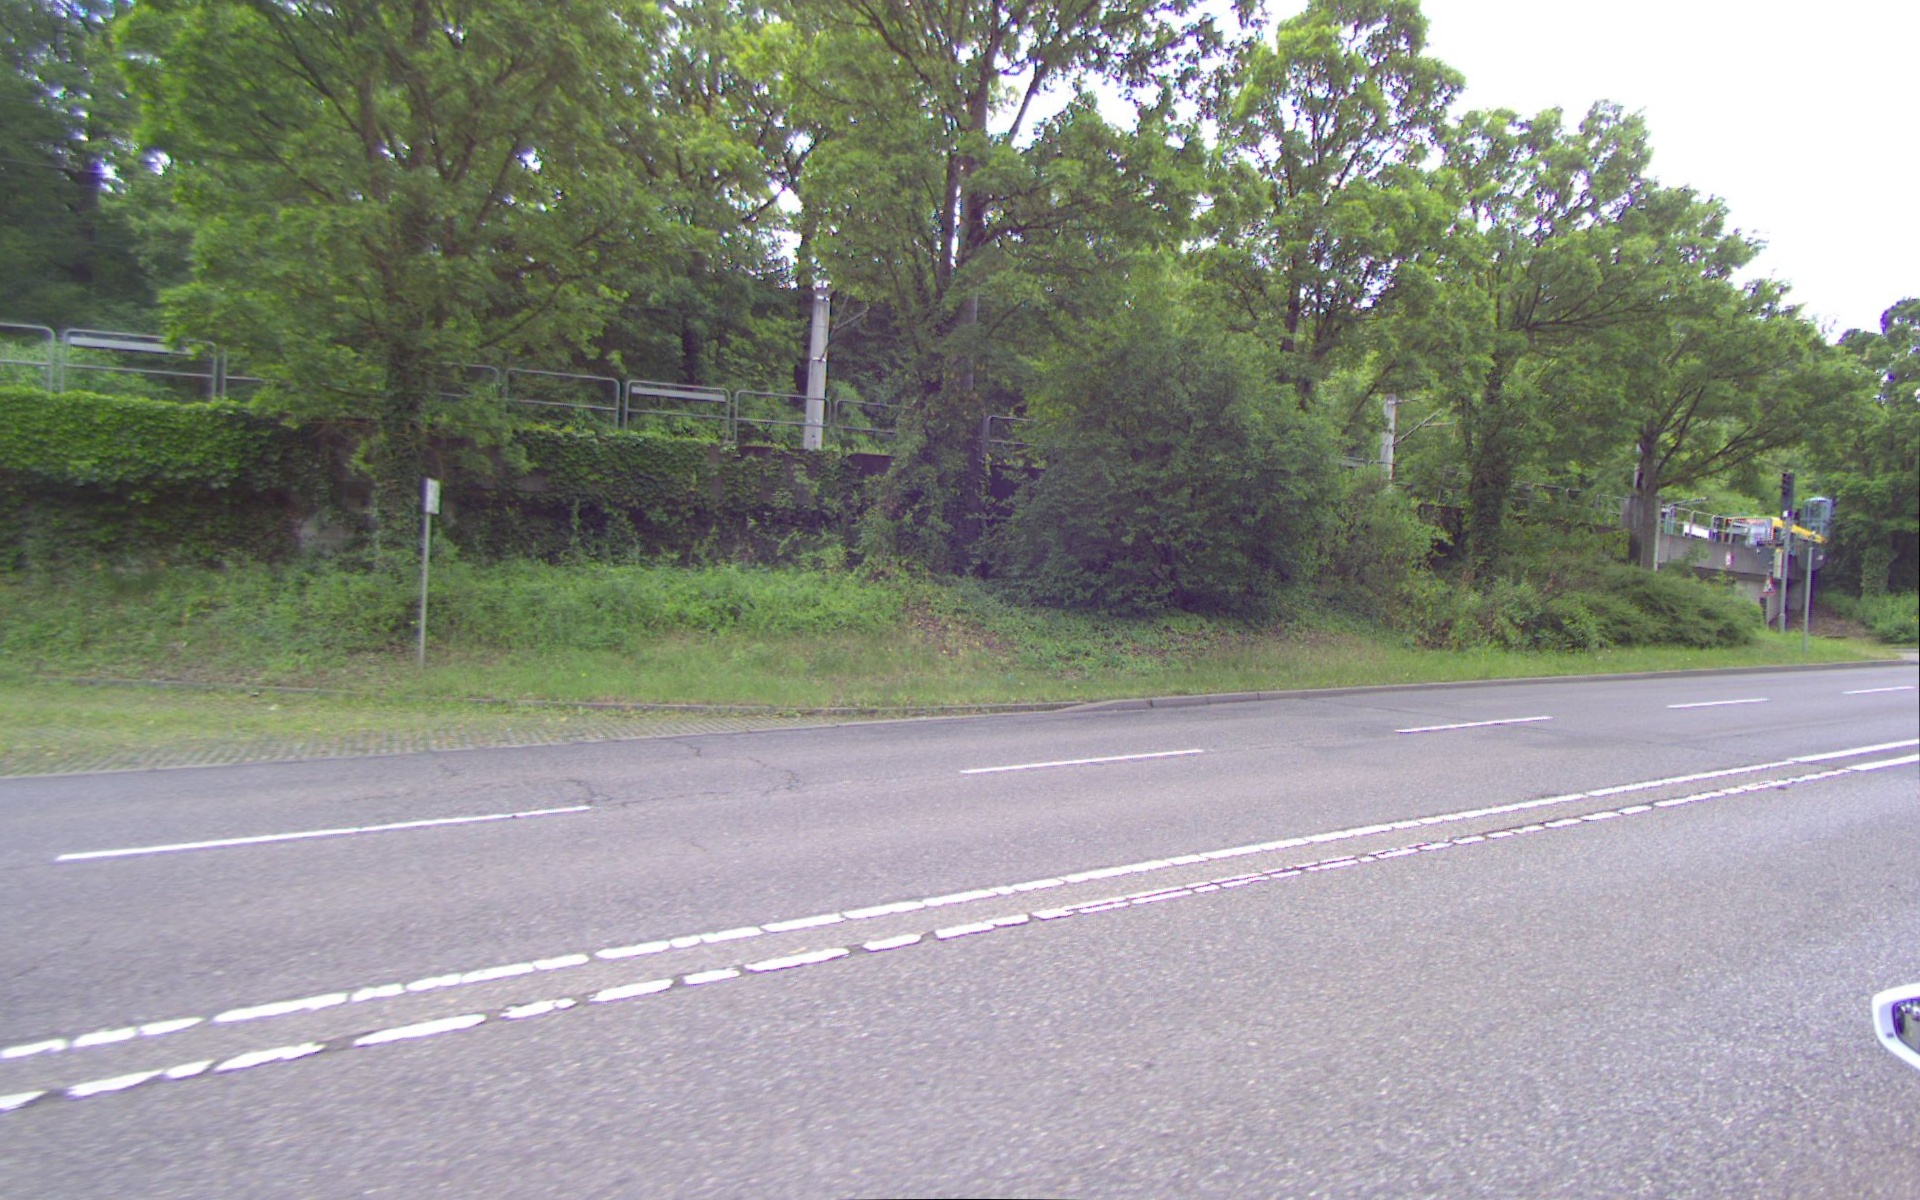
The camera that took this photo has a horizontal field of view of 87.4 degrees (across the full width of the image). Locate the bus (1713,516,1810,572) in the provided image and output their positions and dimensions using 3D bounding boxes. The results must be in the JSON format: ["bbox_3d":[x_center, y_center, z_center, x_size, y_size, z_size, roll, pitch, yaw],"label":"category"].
[{"bbox_3d":[48.561,-3.271,60.772,7.866,2.826,2.523,2,0,-36],"label":"bus"}]
